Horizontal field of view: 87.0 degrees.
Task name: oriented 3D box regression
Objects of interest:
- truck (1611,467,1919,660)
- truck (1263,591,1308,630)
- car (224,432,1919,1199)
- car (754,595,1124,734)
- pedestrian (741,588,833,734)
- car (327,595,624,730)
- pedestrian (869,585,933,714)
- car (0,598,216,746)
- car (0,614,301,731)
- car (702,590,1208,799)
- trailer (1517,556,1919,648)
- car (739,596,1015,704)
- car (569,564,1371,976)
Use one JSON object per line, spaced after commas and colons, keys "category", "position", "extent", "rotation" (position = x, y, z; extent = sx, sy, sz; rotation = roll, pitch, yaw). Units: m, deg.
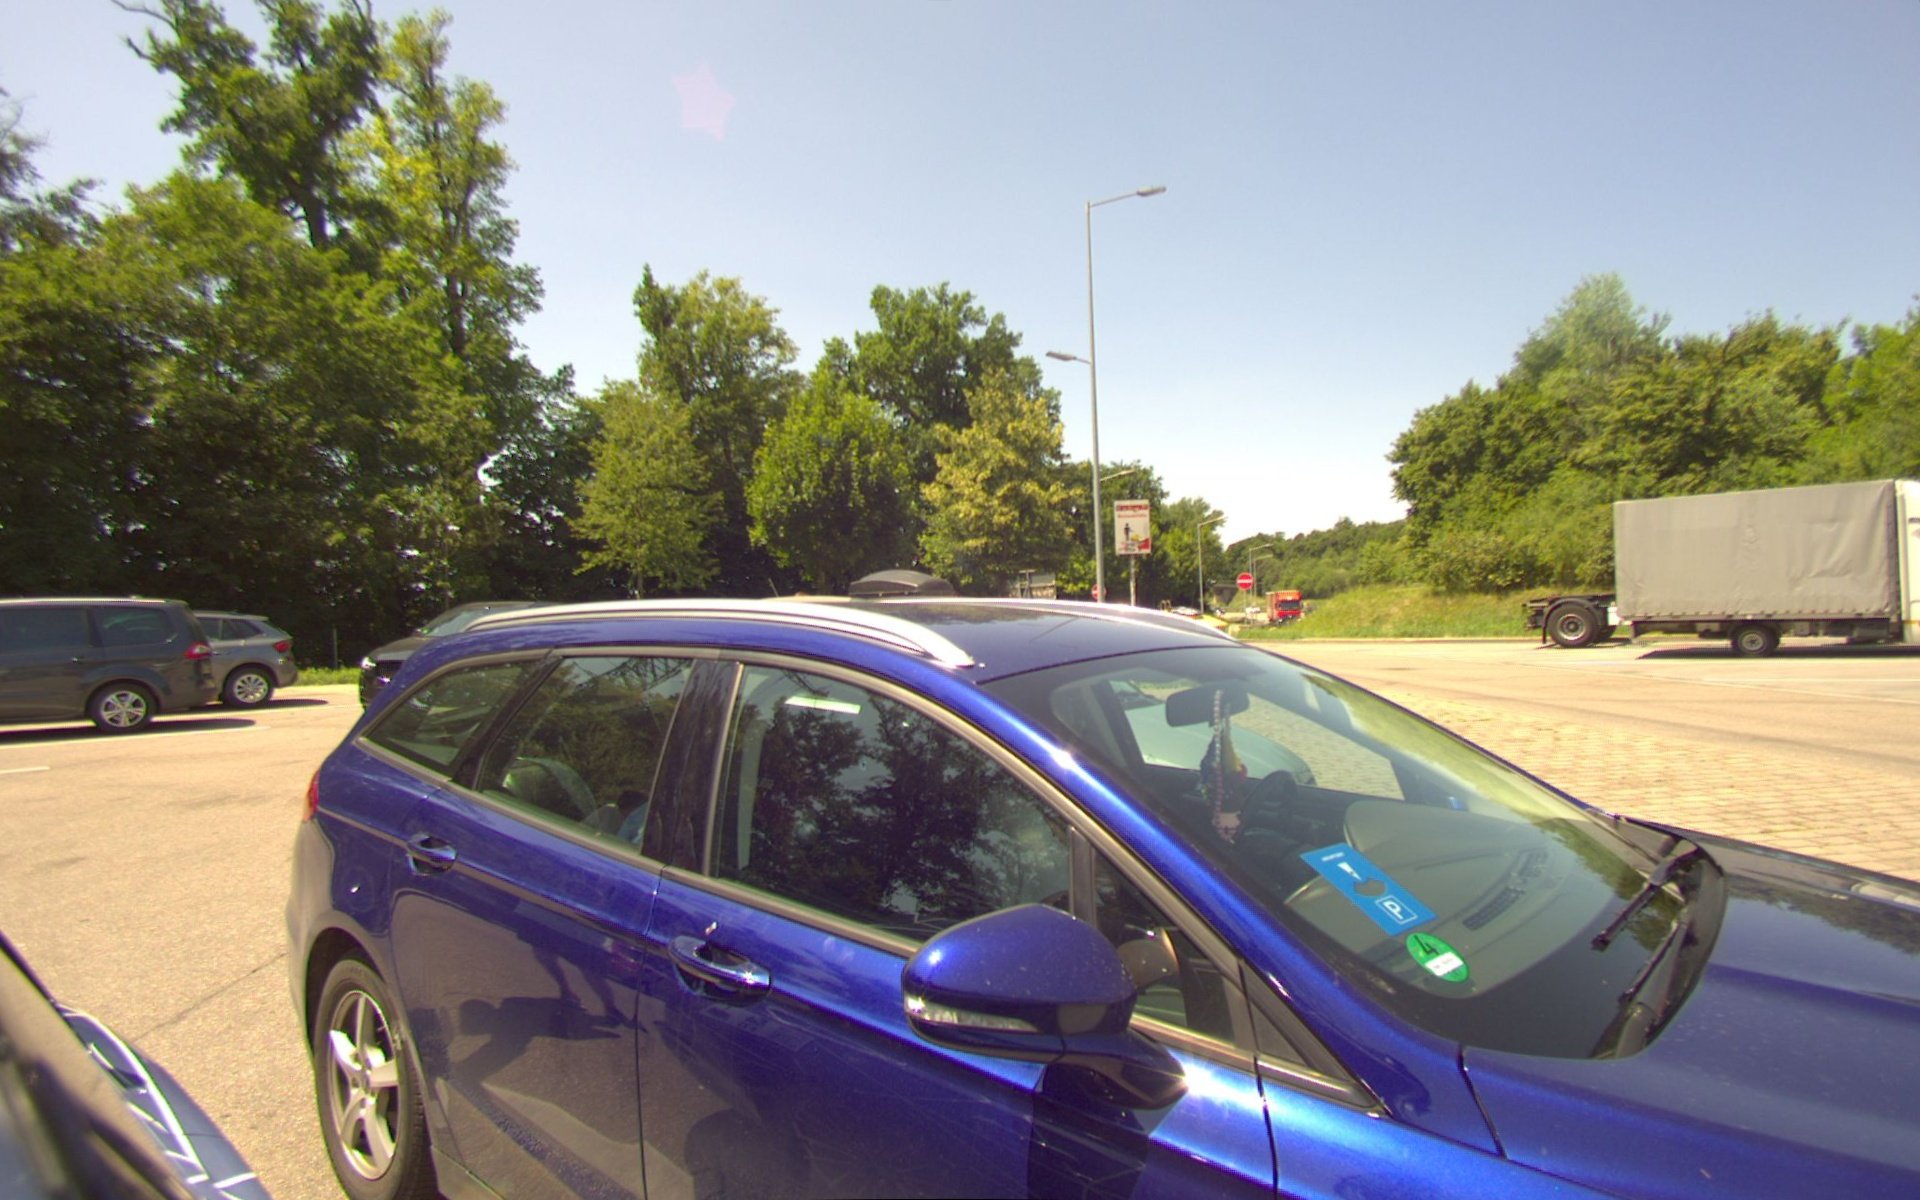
{"category": "truck", "position": [16.834, -0.659, 18.966], "extent": [7.295, 3.259, 2.709], "rotation": [-4, -1, 43]}
{"category": "truck", "position": [37.253, 1.086, 116.423], "extent": [3.100, 4.150, 15.345], "rotation": [-1, 0, 11]}
{"category": "car", "position": [0.265, 0.664, 2.137], "extent": [4.490, 1.502, 1.851], "rotation": [-3, 0, 40]}
{"category": "car", "position": [-0.377, 0.776, 12.757], "extent": [4.485, 1.437, 1.756], "rotation": [-3, -1, 36]}
{"category": "pedestrian", "position": [-2.061, 0.711, 12.081], "extent": [0.829, 1.676, 0.670], "rotation": [-2, -1, 27]}
{"category": "car", "position": [-6.998, 0.816, 15.289], "extent": [1.975, 1.725, 4.610], "rotation": [-1, 0, 5]}
{"category": "pedestrian", "position": [-0.819, 0.685, 14.198], "extent": [0.822, 1.746, 0.676], "rotation": [-1, -1, 0]}
{"category": "car", "position": [-11.933, 0.863, 12.297], "extent": [4.553, 1.725, 1.741], "rotation": [0, -1, -41]}
{"category": "car", "position": [-12.588, 1.007, 15.461], "extent": [1.687, 1.515, 3.943], "rotation": [-1, 0, 43]}
{"category": "car", "position": [-0.235, 0.751, 9.209], "extent": [4.490, 1.437, 1.754], "rotation": [-3, -1, 40]}
{"category": "trailer", "position": [17.260, 0.121, 23.395], "extent": [7.295, 1.701, 2.235], "rotation": [-4, -1, 43]}
{"category": "car", "position": [-1.469, 0.827, 16.856], "extent": [4.485, 1.562, 1.756], "rotation": [-3, -1, 36]}
{"category": "car", "position": [-0.248, 0.696, 5.835], "extent": [4.490, 1.511, 1.754], "rotation": [-3, -1, 40]}
